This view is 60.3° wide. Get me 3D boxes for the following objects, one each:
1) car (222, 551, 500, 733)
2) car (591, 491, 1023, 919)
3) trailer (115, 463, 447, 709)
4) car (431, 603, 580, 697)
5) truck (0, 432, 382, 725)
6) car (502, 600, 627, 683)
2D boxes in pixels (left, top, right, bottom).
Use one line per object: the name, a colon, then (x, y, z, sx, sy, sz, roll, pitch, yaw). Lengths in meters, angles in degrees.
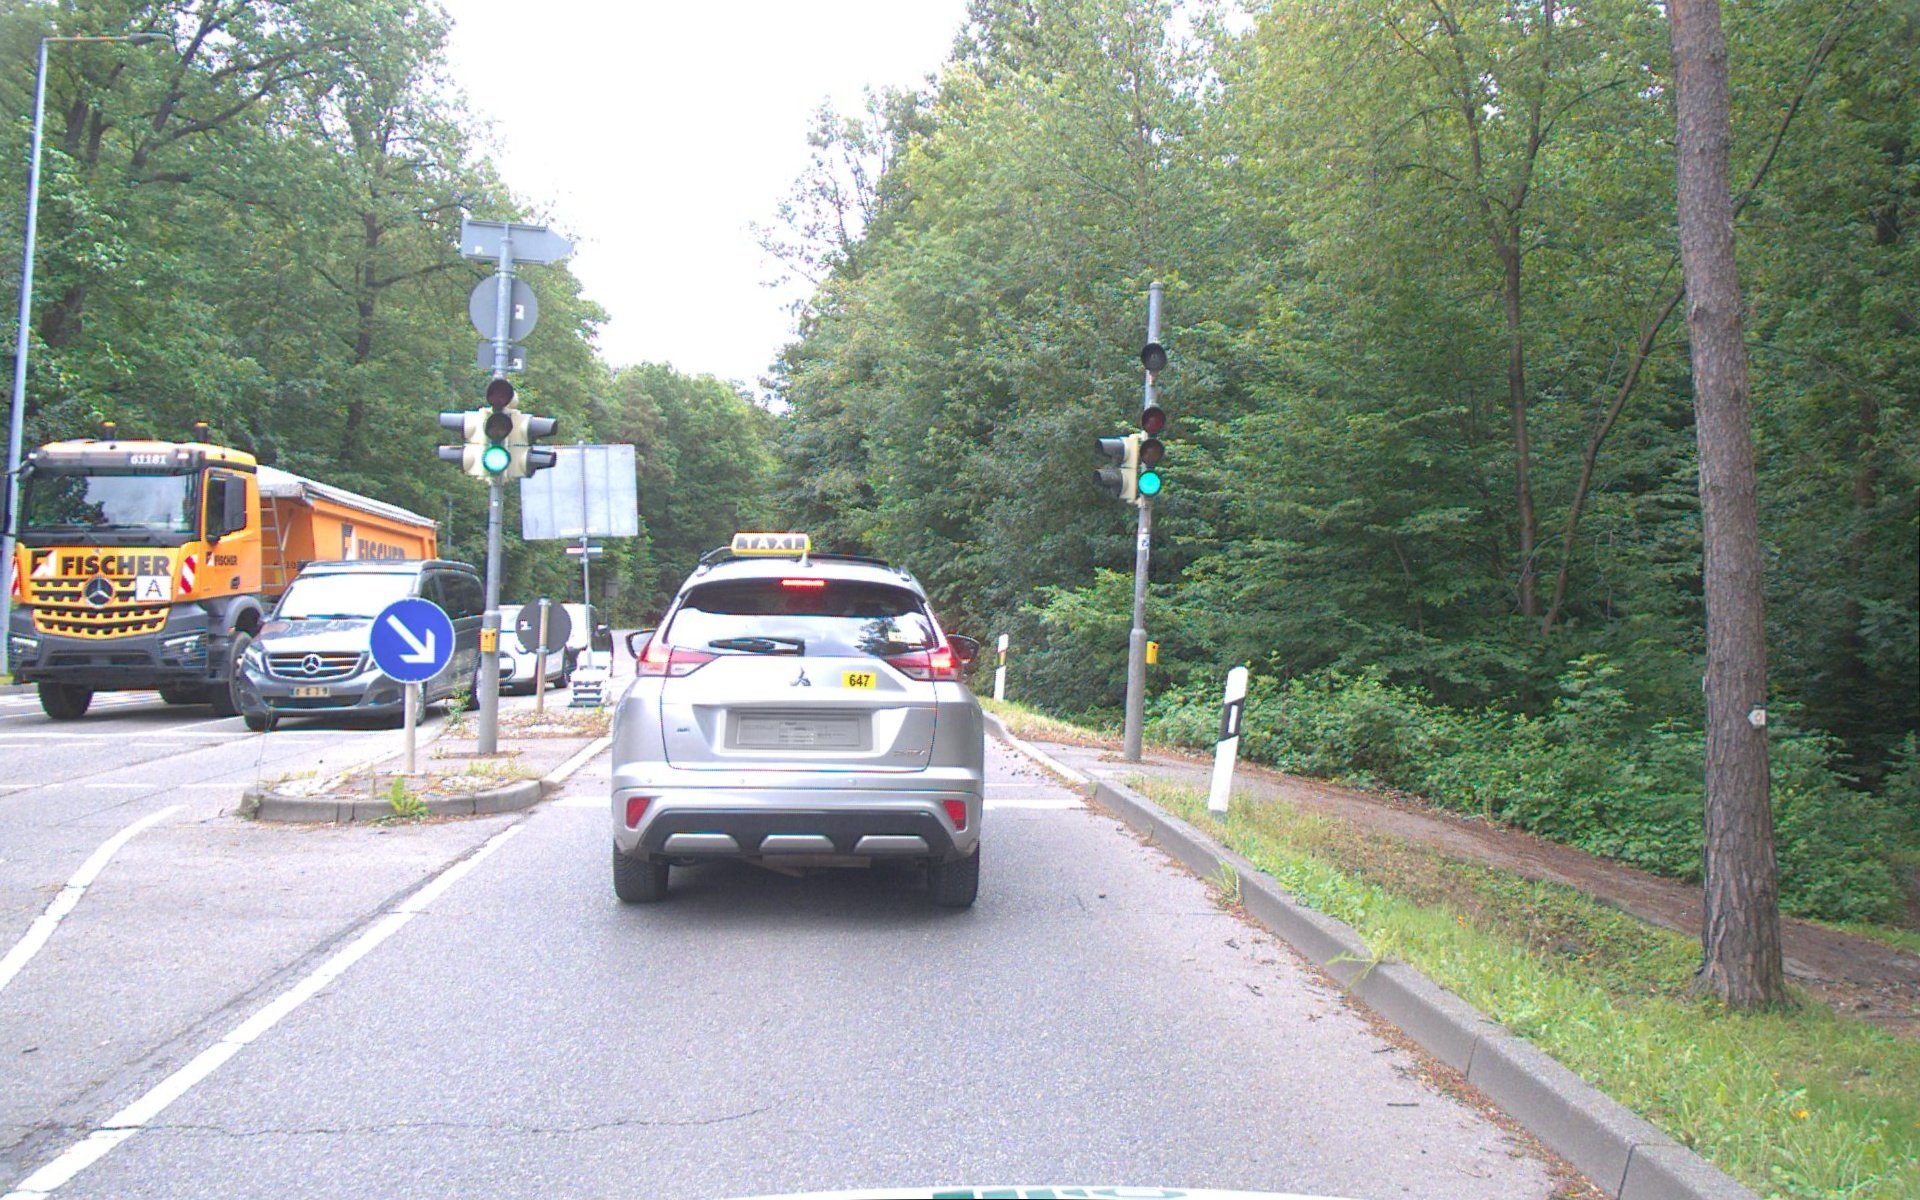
car: (-7.111, 0.472, 20.204, 1.954, 1.927, 4.834, -1, -1, -5)
car: (-0.877, 0.462, 9.119, 1.811, 1.811, 3.994, 2, 0, -7)
trailer: (-10.666, -0.135, 27.058, 2.686, 3.376, 8.557, 0, -1, -6)
car: (-7.390, 0.769, 27.207, 1.580, 1.344, 3.719, -1, 1, -3)
truck: (-10.231, -0.200, 22.755, 2.686, 3.376, 7.150, 0, -1, -6)
car: (-7.909, 0.805, 33.365, 1.775, 1.534, 3.719, -1, 0, -3)
